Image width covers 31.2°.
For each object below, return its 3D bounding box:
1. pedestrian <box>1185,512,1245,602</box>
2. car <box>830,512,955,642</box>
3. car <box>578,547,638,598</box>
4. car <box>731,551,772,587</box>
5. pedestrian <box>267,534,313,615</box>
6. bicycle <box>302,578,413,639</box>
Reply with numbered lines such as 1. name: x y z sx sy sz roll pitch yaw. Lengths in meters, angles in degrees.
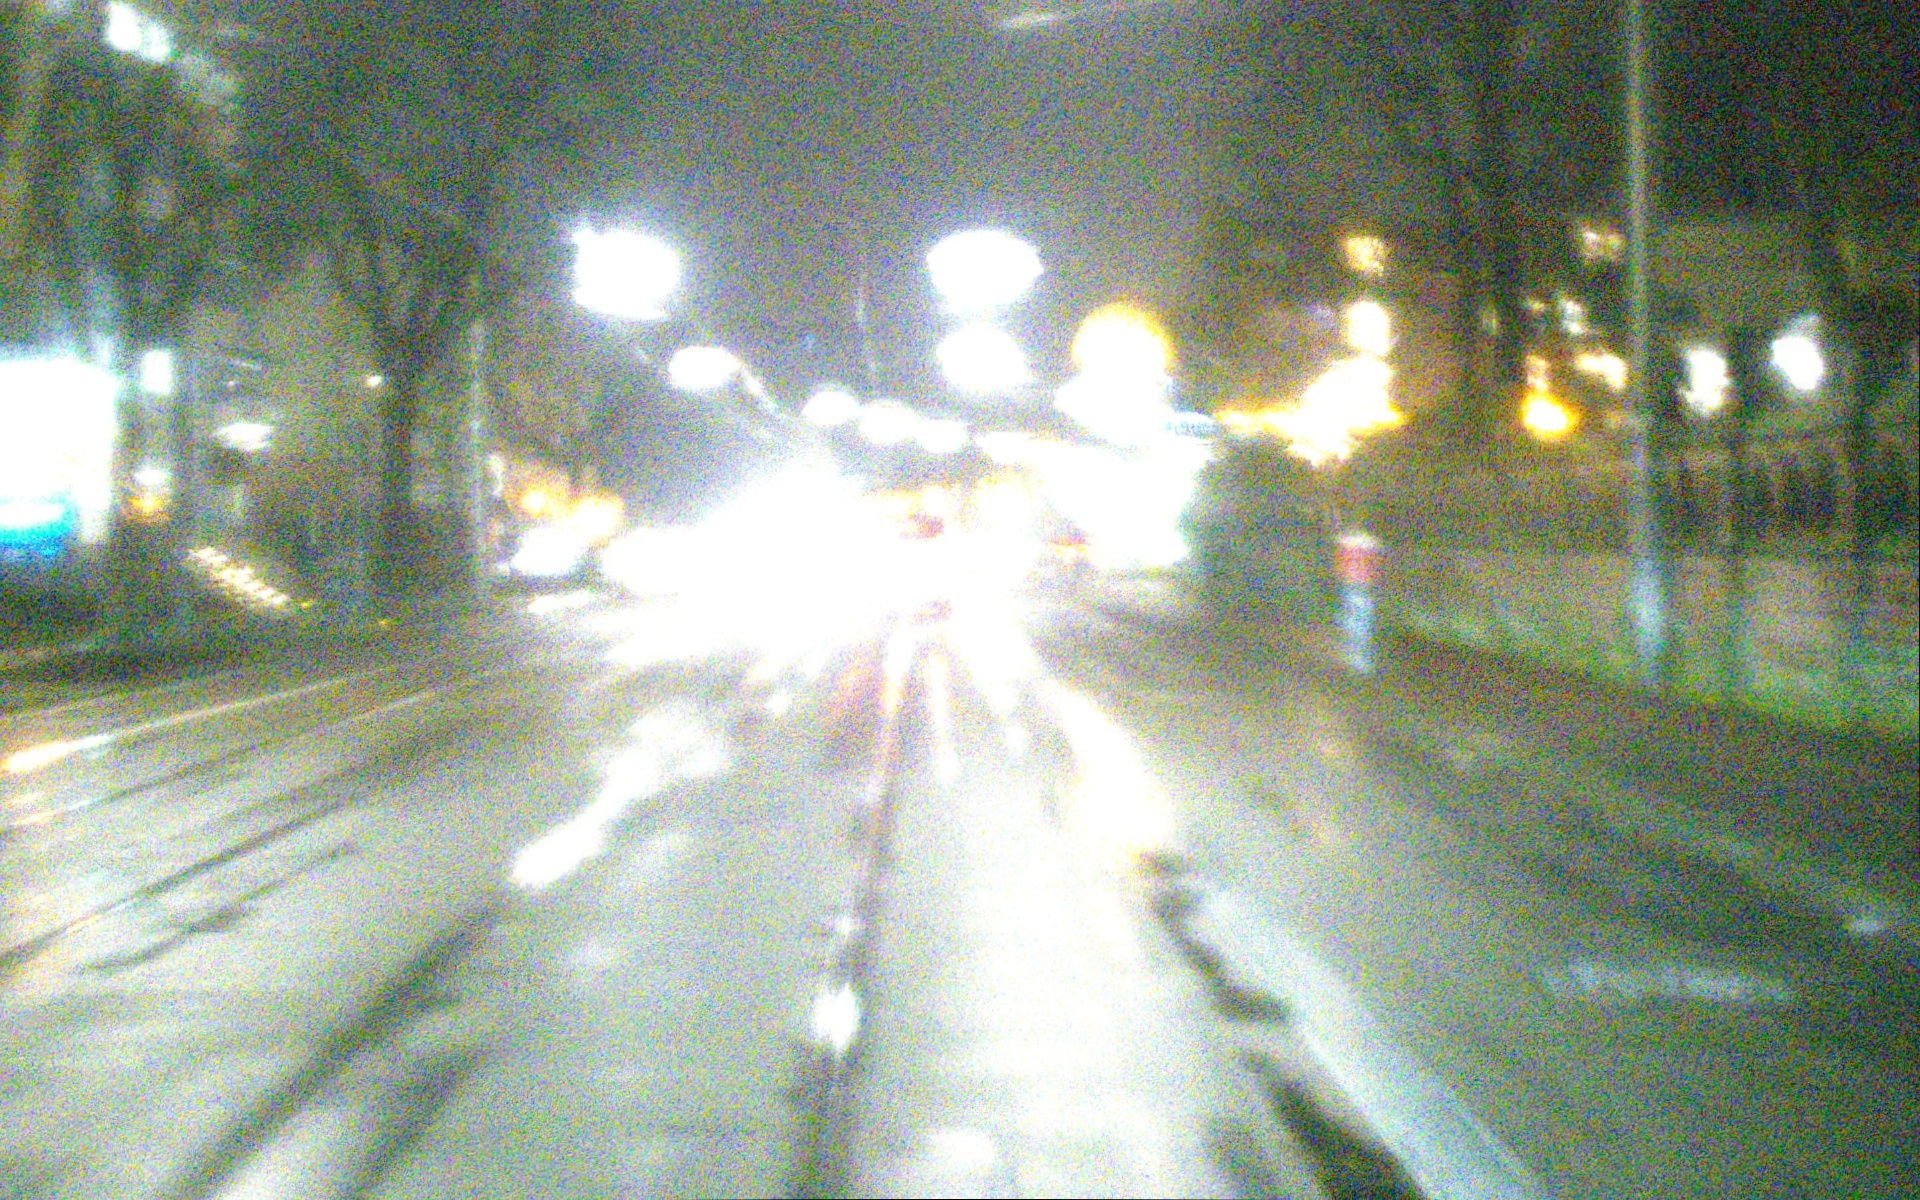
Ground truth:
1. pedestrian: 4.816 -0.821 65.026 0.939 1.658 0.994 -2 1 -5
2. car: -1.296 -0.441 64.611 2.244 2.353 4.394 0 0 -2
3. car: -14.172 -1.104 138.494 1.993 2.007 4.000 0 0 0
4. car: -10.363 -1.541 170.811 1.993 1.718 4.077 0 0 -4
5. pedestrian: -14.088 -0.535 72.292 0.786 1.681 0.883 0 0 -1
6. bicycle: -10.644 0.145 60.750 1.853 1.074 0.628 0 0 -1
